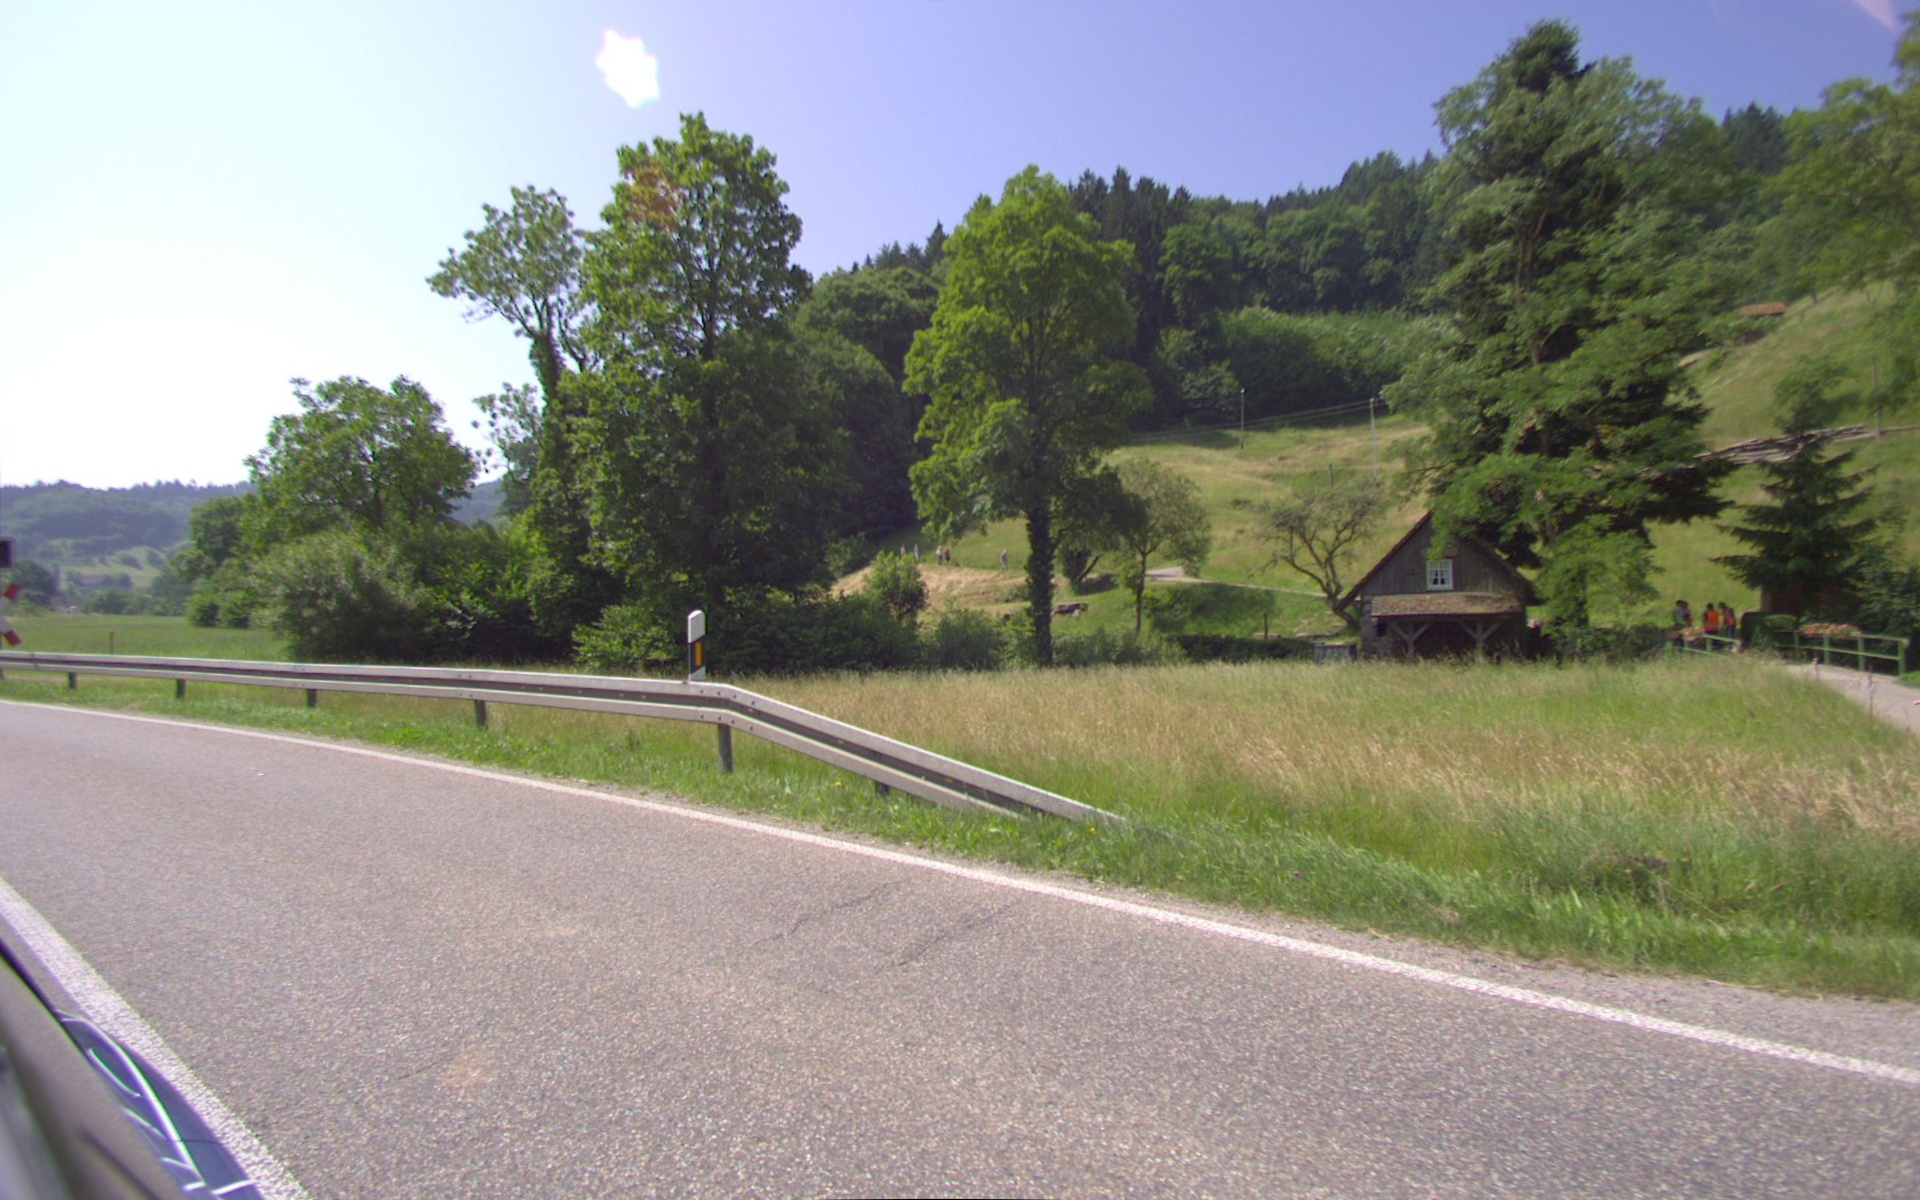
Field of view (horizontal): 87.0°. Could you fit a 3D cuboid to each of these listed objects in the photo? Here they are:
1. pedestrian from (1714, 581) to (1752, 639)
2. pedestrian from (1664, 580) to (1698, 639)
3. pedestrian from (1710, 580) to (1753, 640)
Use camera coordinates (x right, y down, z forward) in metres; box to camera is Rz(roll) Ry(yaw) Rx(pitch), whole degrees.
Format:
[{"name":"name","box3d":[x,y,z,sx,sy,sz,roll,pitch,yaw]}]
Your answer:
[{"name":"pedestrian","box3d":[27.196,0.360,35.623,0.928,2.029,0.694,0,-2,29]},{"name":"pedestrian","box3d":[25.303,0.341,35.522,0.930,2.029,0.693,0,-2,34]},{"name":"pedestrian","box3d":[26.342,0.348,34.570,0.689,2.029,0.935,1,-2,-14]}]
